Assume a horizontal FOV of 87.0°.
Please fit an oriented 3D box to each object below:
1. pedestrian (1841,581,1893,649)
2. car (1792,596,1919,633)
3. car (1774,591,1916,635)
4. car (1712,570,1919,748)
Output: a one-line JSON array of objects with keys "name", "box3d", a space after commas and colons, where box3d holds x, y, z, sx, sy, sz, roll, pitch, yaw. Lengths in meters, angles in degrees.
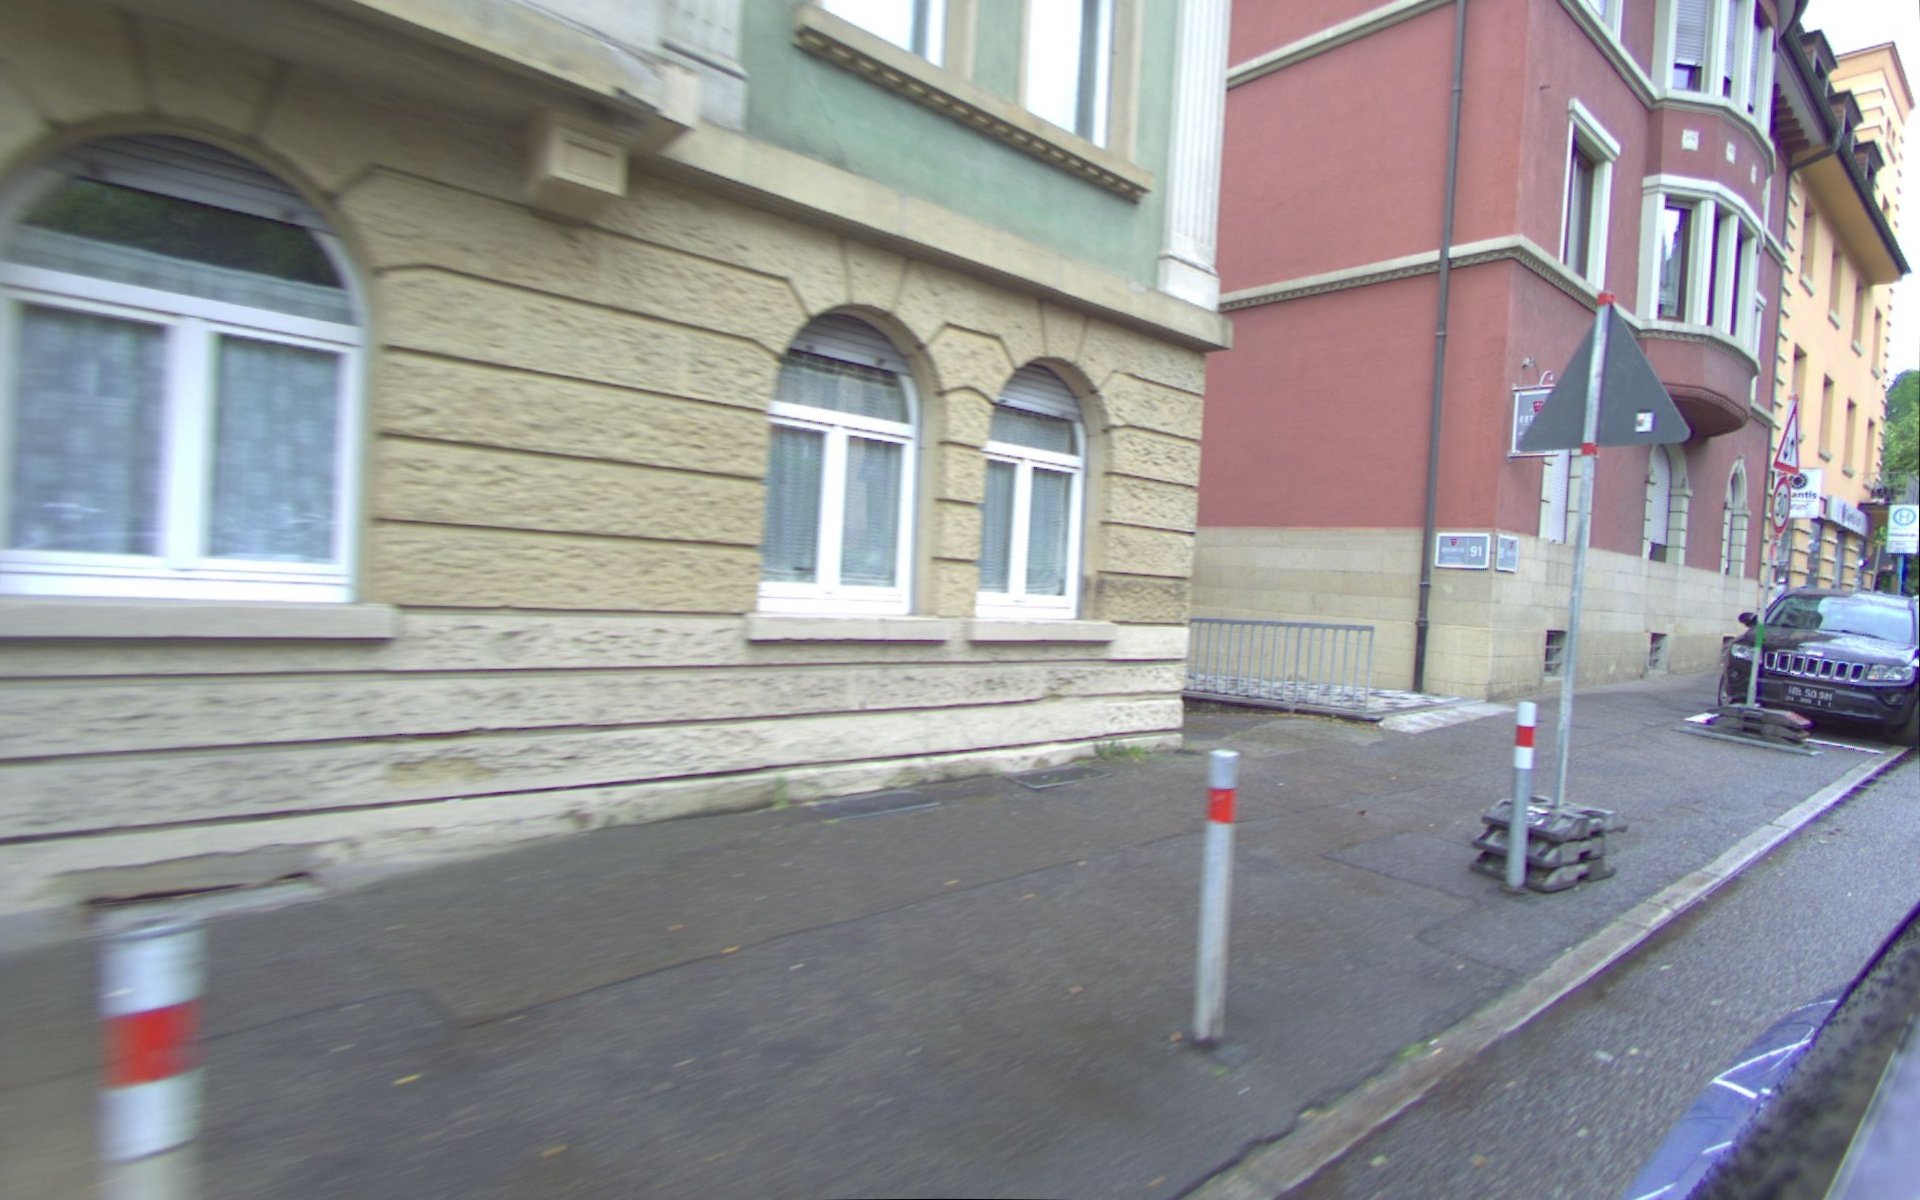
[{"name": "pedestrian", "box3d": [22.528, 0.366, 25.154, 0.762, 1.609, 0.704, 3, 3, 31]}, {"name": "car", "box3d": [38.697, 0.601, 43.610, 4.268, 1.517, 1.970, 0, -1, 45]}, {"name": "car", "box3d": [33.754, 0.466, 38.657, 4.026, 1.487, 1.858, -2, 1, -8]}, {"name": "car", "box3d": [10.933, 0.542, 12.229, 4.615, 1.648, 1.882, -1, 6, -41]}]
